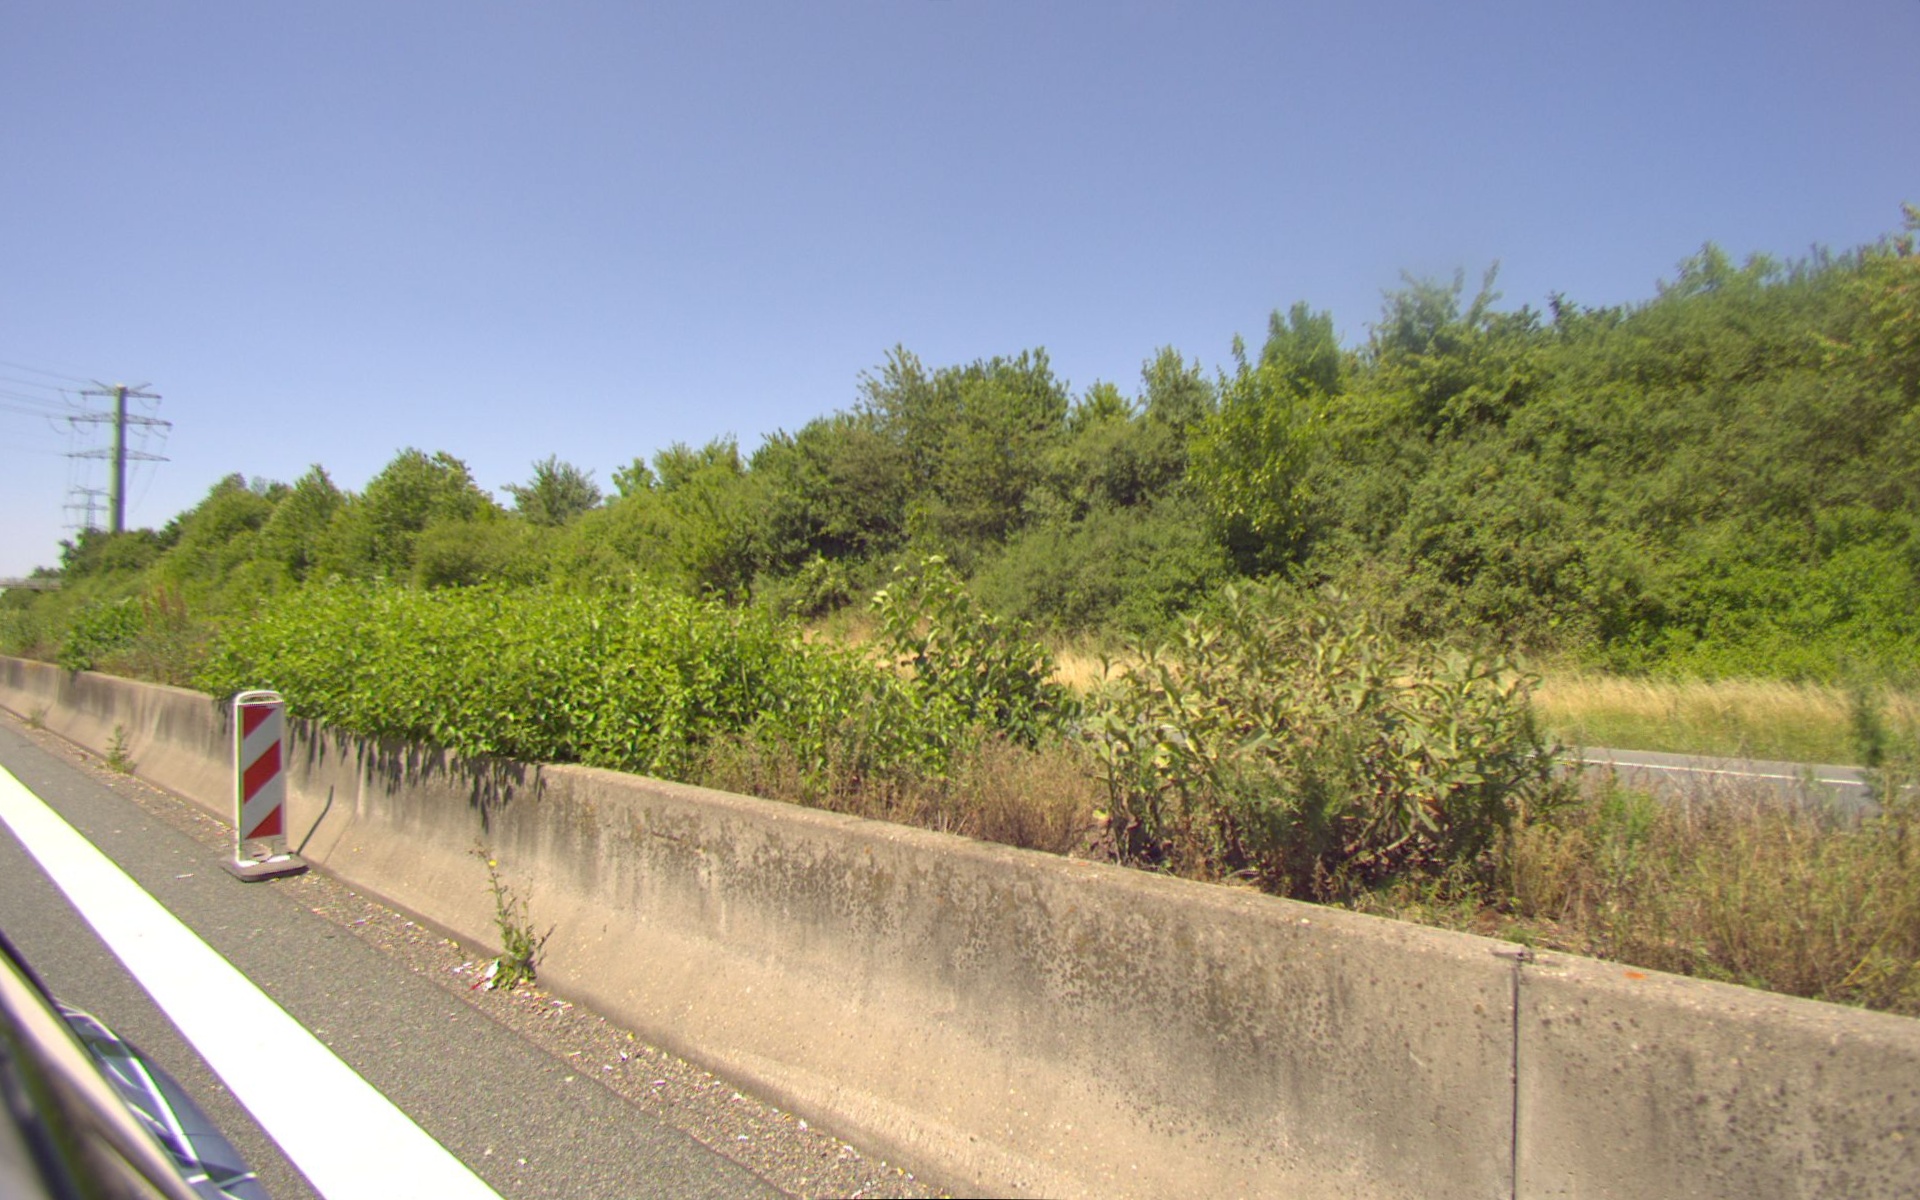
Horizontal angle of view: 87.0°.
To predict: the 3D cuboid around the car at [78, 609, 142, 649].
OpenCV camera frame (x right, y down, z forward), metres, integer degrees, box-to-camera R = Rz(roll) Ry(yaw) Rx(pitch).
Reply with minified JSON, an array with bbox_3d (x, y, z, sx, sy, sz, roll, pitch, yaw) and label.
[{"bbox_3d":[-65.735,2.168,78.207,7.674,2.894,2.733,-1,0,42],"label":"car"}]
